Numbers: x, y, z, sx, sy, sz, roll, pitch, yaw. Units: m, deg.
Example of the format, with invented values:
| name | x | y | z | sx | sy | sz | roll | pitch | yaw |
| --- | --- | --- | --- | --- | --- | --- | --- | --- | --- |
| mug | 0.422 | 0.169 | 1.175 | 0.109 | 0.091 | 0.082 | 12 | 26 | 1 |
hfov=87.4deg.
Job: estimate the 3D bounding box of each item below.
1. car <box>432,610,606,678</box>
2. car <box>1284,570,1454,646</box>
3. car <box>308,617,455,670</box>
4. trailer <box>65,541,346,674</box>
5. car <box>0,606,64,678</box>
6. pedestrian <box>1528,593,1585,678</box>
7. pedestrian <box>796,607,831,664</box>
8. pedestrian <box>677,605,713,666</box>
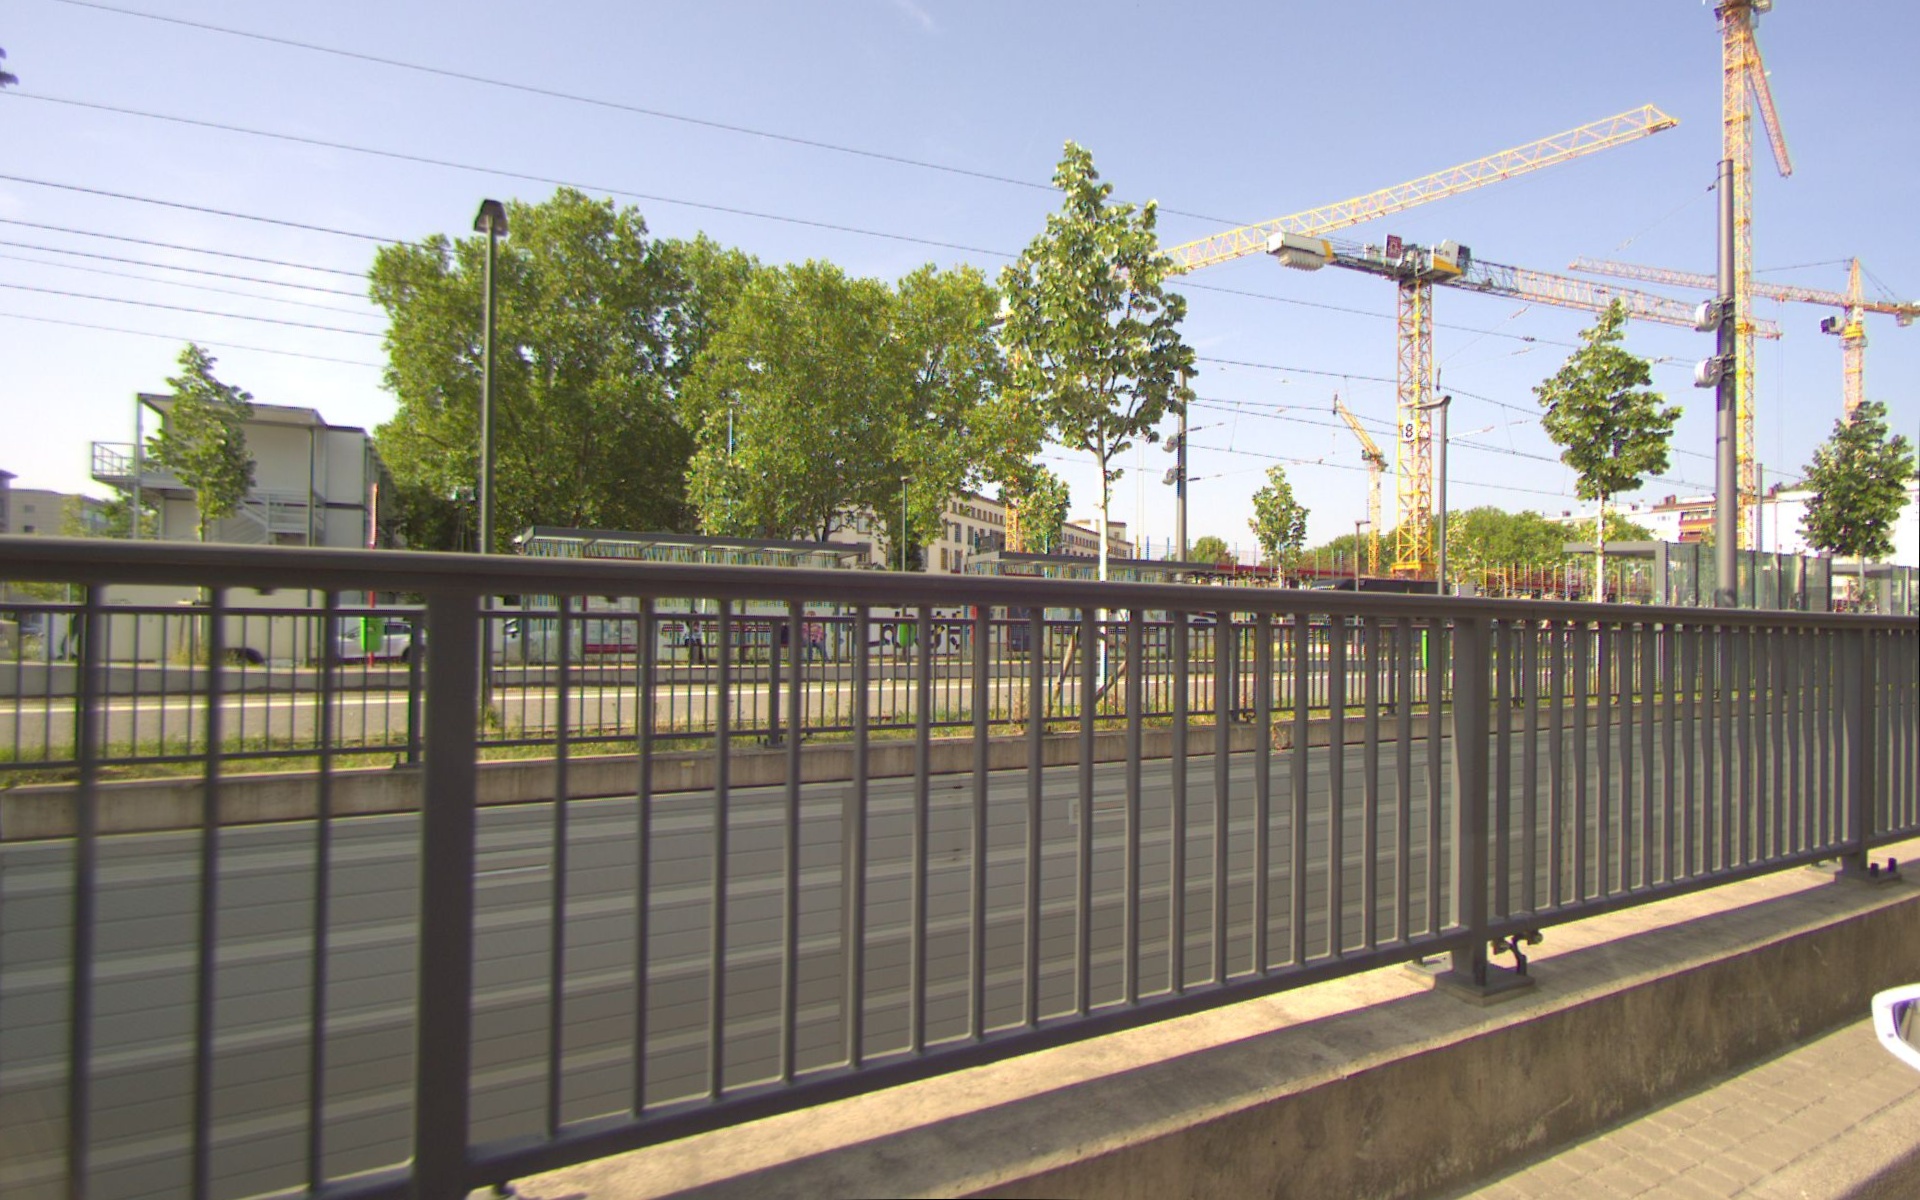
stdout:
| name | x | y | z | sx | sy | sz | roll | pitch | yaw |
| --- | --- | --- | --- | --- | --- | --- | --- | --- | --- |
| car | -11.745 | 1.139 | 26.812 | 4.101 | 1.684 | 1.713 | 1 | -1 | -30 |
| car | 20.732 | 0.456 | 50.725 | 9.126 | 3.559 | 3.039 | 1 | 0 | -31 |
| car | -18.726 | 1.390 | 32.690 | 4.017 | 1.603 | 1.713 | 1 | -1 | -29 |
| trailer | -17.272 | 0.193 | 23.396 | 4.963 | 2.818 | 2.034 | 2 | 0 | -30 |
| car | -21.460 | 0.848 | 20.583 | 4.353 | 1.489 | 1.634 | 1 | -1 | -31 |
| pedestrian | 11.870 | 0.697 | 20.000 | 0.702 | 1.640 | 0.732 | 1 | -1 | -30 |
| pedestrian | -3.470 | 0.824 | 23.748 | 0.586 | 1.317 | 0.676 | 1 | -1 | -33 |
| pedestrian | -5.823 | 0.780 | 22.074 | 0.586 | 1.317 | 0.676 | 1 | -1 | -33 |
